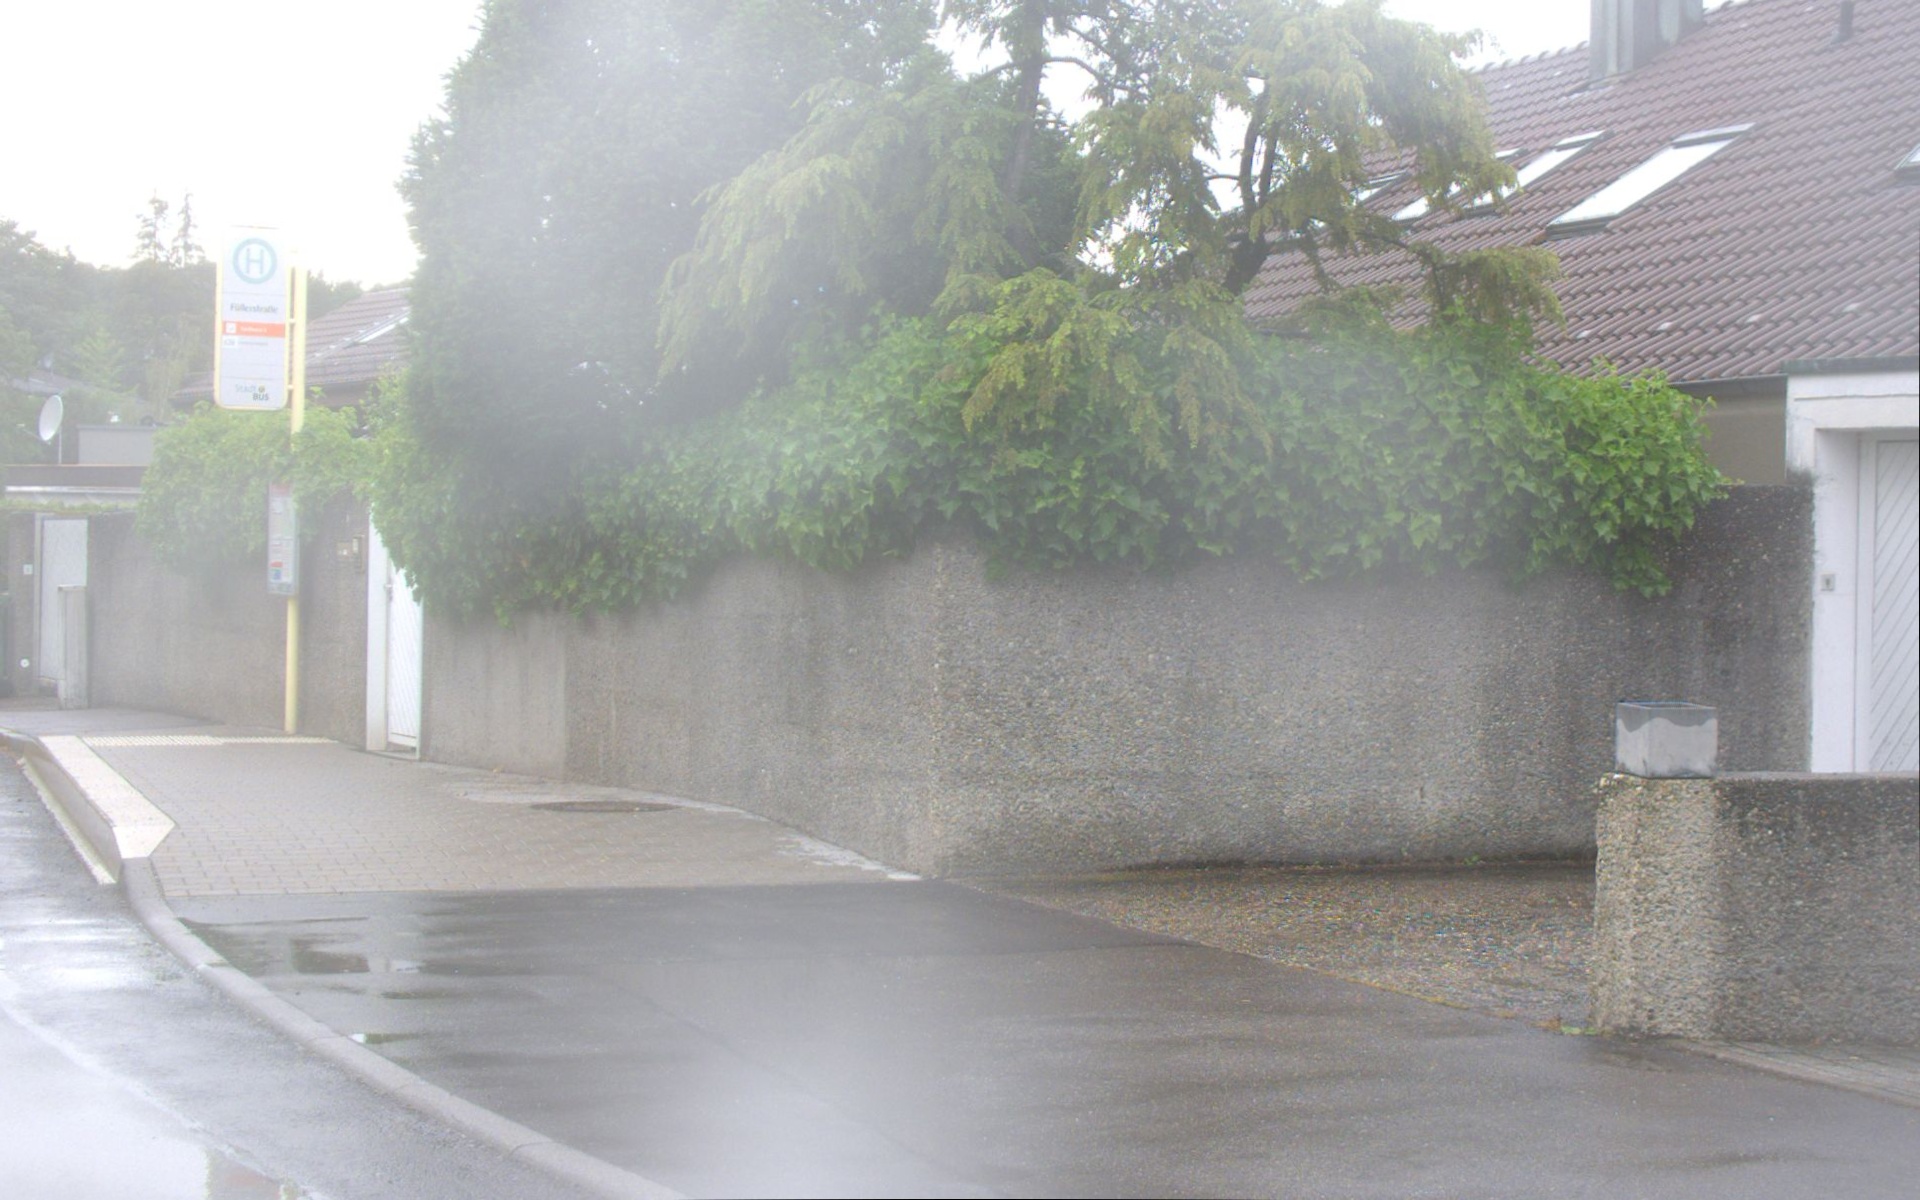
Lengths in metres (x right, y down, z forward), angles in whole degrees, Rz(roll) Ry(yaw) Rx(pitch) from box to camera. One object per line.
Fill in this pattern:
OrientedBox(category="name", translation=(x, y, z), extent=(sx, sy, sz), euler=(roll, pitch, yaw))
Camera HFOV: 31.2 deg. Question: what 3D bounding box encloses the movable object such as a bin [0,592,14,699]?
OrientedBox(category="movable object such as a bin", translation=(-10.212, 0.478, 35.544), extent=(0.738, 1.085, 0.600), euler=(-2, 2, -22))
